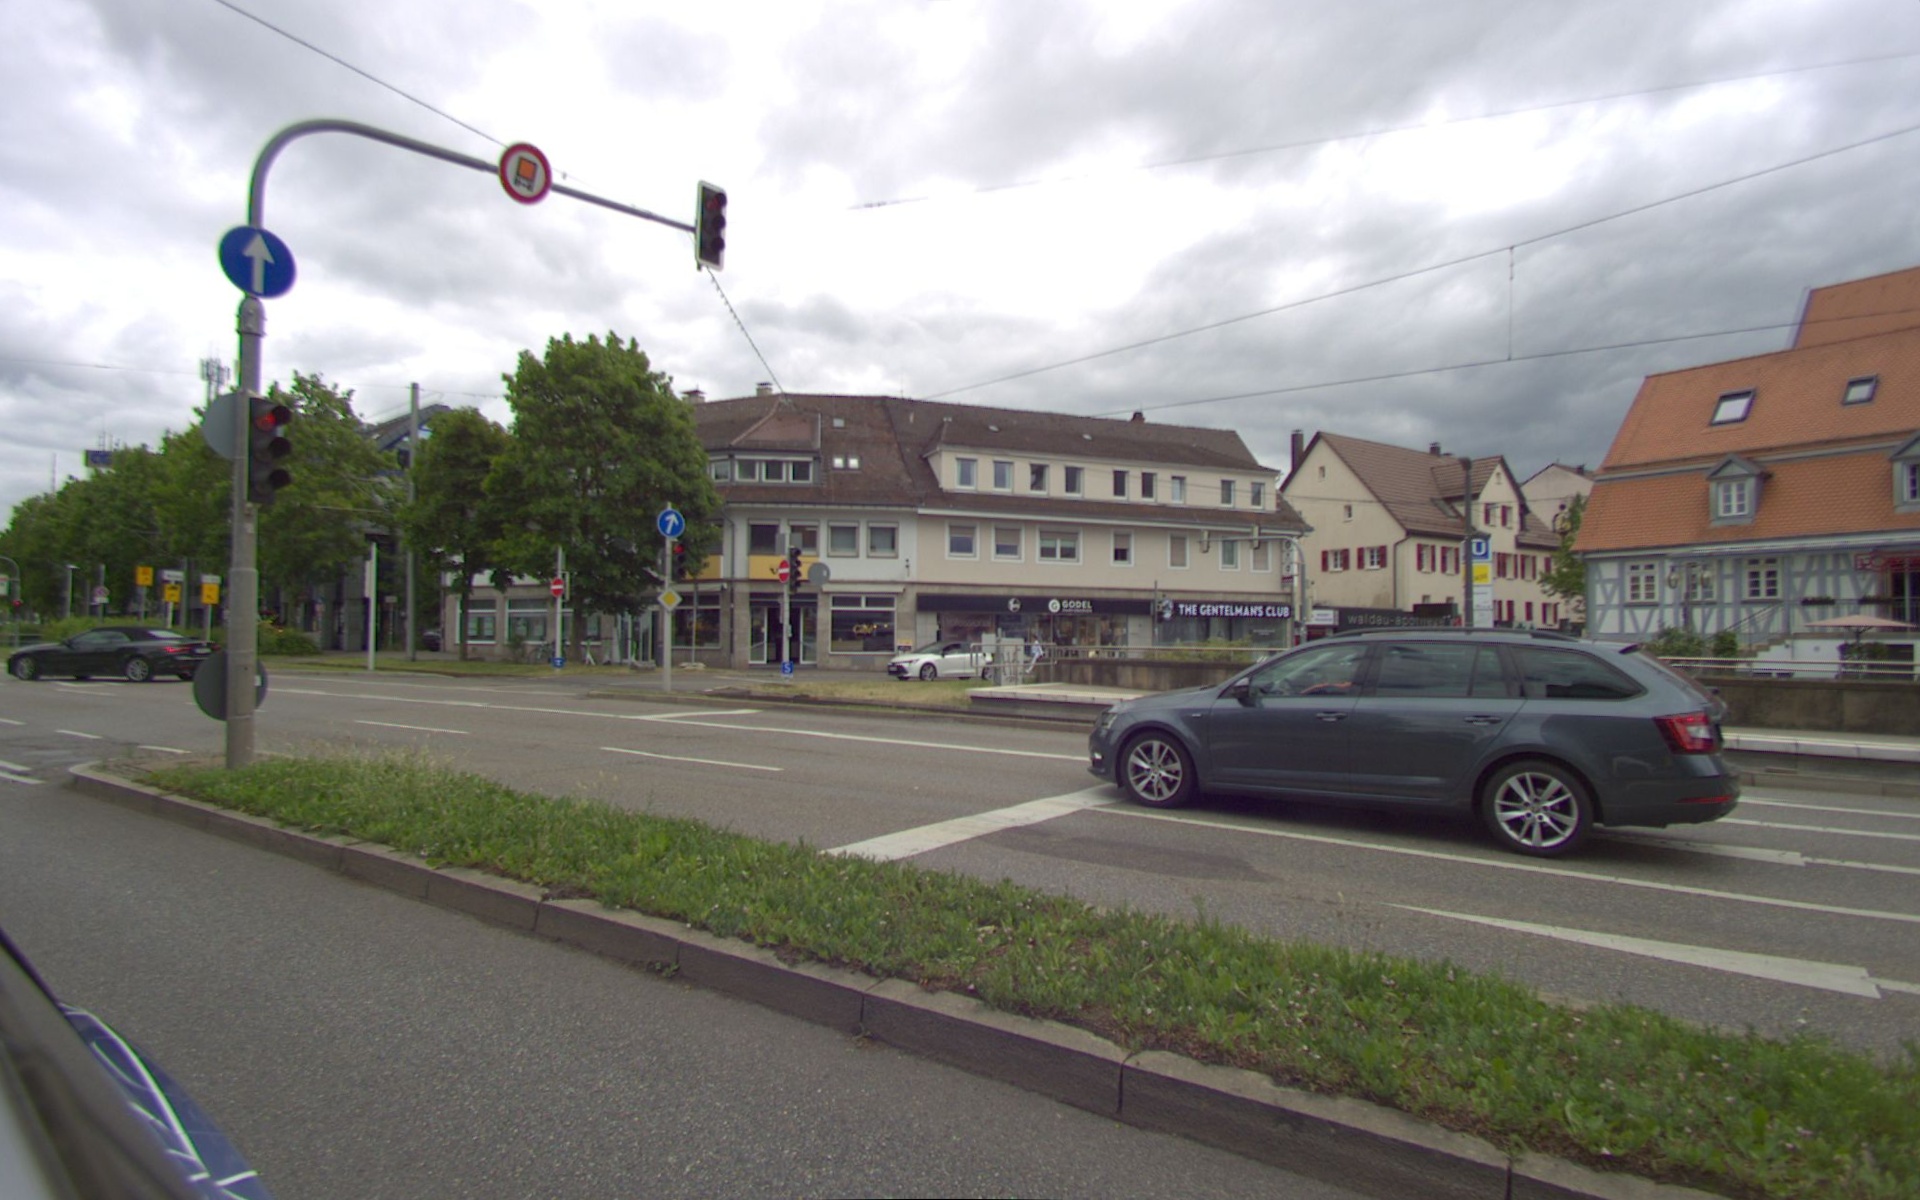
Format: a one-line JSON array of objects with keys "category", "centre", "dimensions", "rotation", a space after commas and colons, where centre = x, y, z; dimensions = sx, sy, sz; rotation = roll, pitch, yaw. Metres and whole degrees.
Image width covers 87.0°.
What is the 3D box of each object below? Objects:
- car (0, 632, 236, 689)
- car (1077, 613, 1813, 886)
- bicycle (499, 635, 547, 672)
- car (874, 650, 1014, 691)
[{"category": "car", "centre": [-21.532, 1.515, 25.719], "dimensions": [4.739, 1.367, 2.001], "rotation": [1, -2, -3]}, {"category": "car", "centre": [3.422, 0.899, 7.825], "dimensions": [4.634, 1.524, 1.976], "rotation": [-1, -3, 35]}, {"category": "bicycle", "centre": [-15.573, 1.902, 36.110], "dimensions": [0.621, 1.263, 1.676], "rotation": [1, -2, 14]}, {"category": "car", "centre": [-0.529, 2.505, 36.491], "dimensions": [4.730, 1.367, 2.005], "rotation": [2, -3, -35]}]
